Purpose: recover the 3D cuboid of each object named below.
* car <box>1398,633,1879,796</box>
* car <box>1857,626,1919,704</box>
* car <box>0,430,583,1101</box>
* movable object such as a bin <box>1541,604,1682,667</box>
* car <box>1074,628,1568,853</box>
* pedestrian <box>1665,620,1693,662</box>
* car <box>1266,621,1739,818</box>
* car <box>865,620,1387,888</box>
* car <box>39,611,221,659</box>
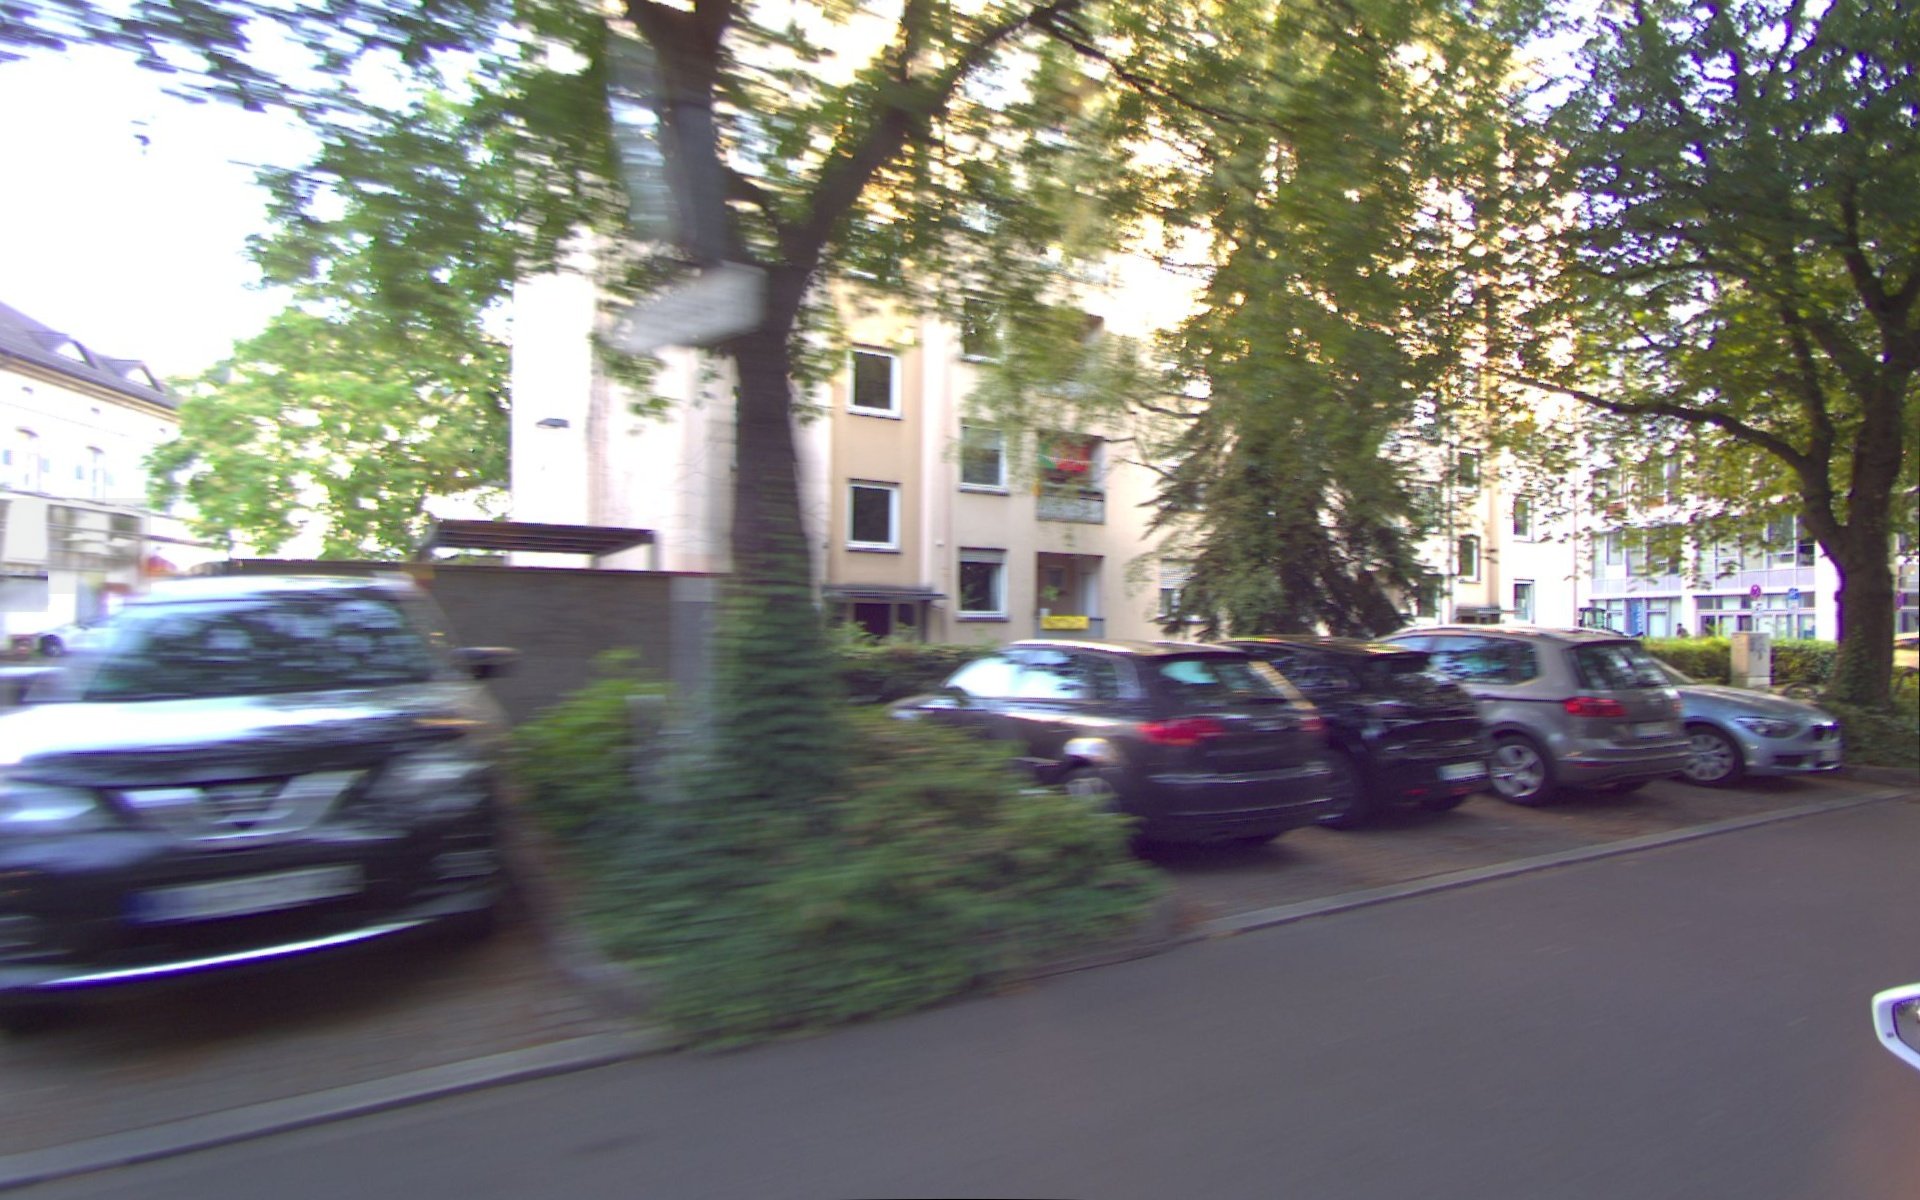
[{"bbox_3d":[7.541,1.137,11.649,1.857,1.448,4.267,1,-1,-30],"label":"car"},{"bbox_3d":[20.866,1.324,19.625,2.049,1.573,4.601,1,-1,-28],"label":"car"},{"bbox_3d":[-3.460,0.527,5.227,1.978,1.981,4.481,1,-1,-32],"label":"car"},{"bbox_3d":[29.991,1.589,46.510,2.243,2.728,5.639,0,-1,-10],"label":"movable object such as a bin"},{"bbox_3d":[2.979,1.031,9.090,1.806,1.510,3.964,1,-1,-33],"label":"car"},{"bbox_3d":[32.210,1.823,44.990,0.873,1.875,0.875,0,-1,25],"label":"pedestrian"},{"bbox_3d":[5.278,1.022,10.376,1.903,1.586,3.975,1,-1,-25],"label":"car"},{"bbox_3d":[0.992,0.914,7.826,1.901,1.483,3.966,1,-1,-32],"label":"car"},{"bbox_3d":[-27.511,1.166,33.434,4.212,1.526,1.998,1,-1,-6],"label":"car"}]
